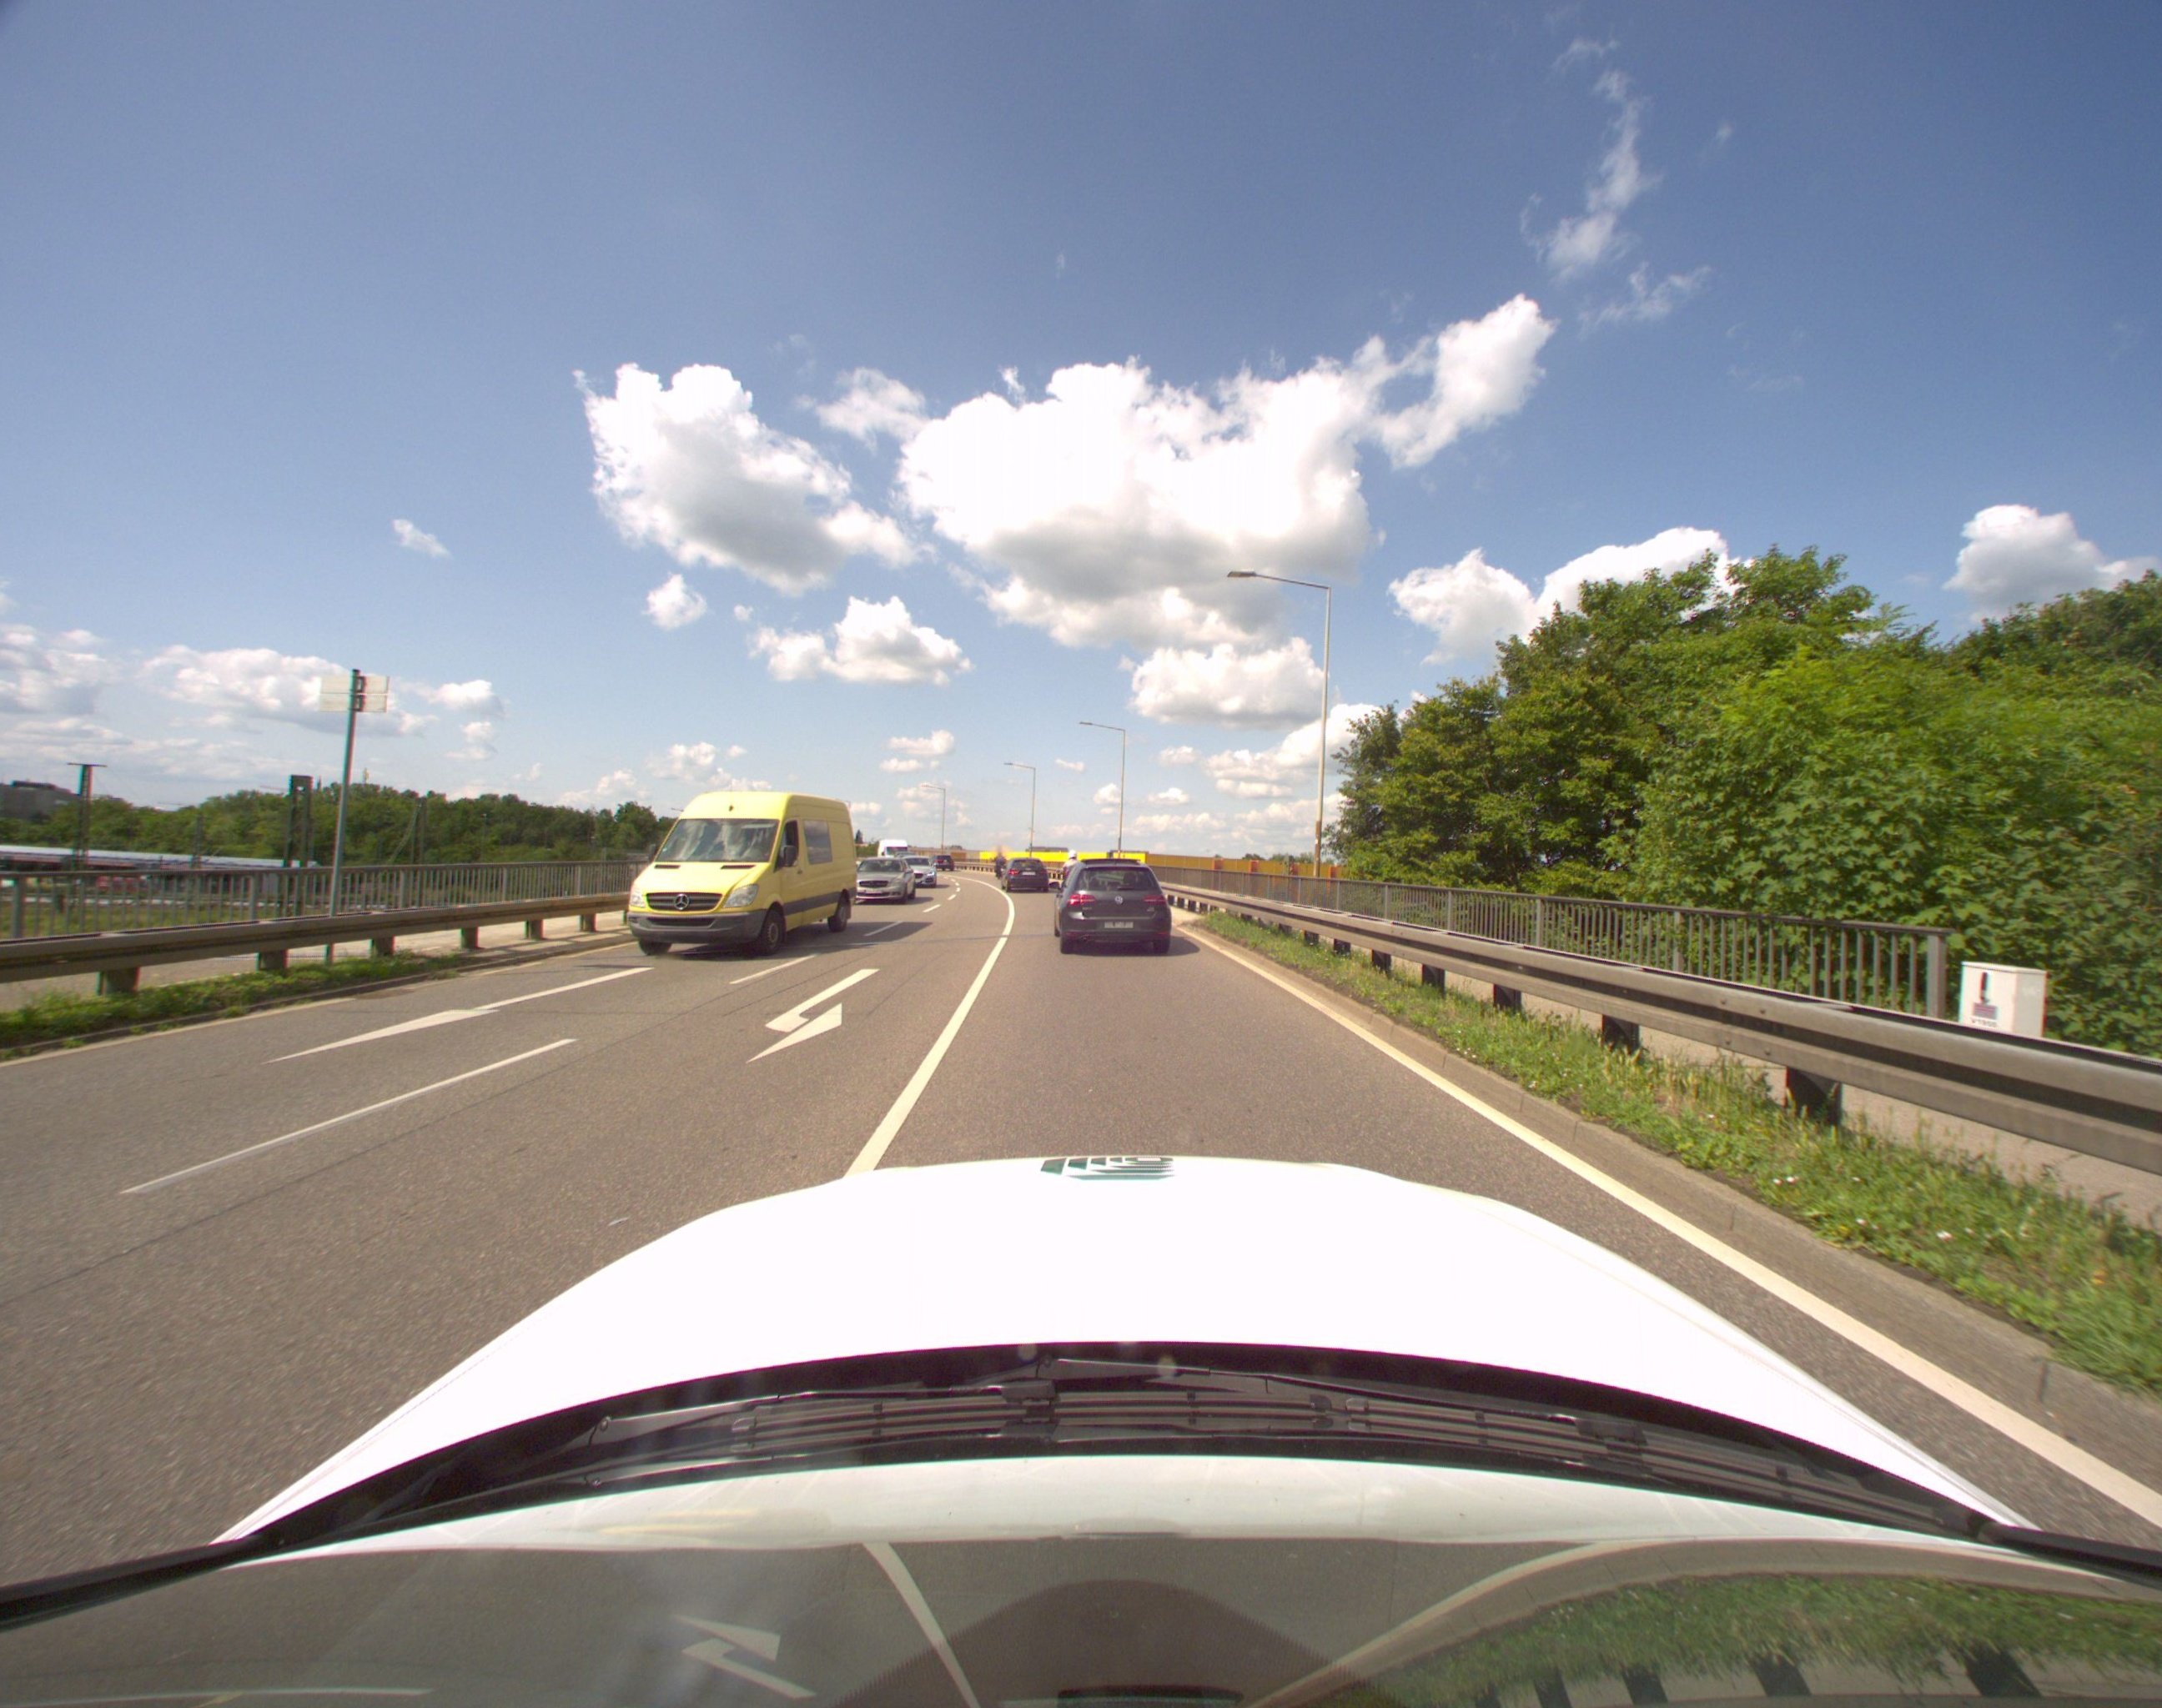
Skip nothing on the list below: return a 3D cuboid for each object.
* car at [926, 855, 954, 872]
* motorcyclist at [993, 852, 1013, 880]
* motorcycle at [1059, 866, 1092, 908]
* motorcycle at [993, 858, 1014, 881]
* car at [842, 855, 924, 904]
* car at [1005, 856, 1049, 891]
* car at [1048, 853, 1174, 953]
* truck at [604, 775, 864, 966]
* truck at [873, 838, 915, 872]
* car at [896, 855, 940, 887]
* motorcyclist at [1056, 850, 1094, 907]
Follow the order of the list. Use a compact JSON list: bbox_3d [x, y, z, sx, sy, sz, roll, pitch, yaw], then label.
[{"bbox_3d":[-12.262,0.820,70.826,1.648,1.479,3.844,1,-1,-21],"label":"car"},{"bbox_3d":[-4.522,0.711,47.340,0.967,1.596,1.120,1,-1,-13],"label":"motorcyclist"},{"bbox_3d":[-0.178,0.937,23.832,0.788,1.132,2.395,1,0,-4],"label":"motorcycle"},{"bbox_3d":[-4.507,0.890,47.202,0.888,1.247,2.389,1,0,-13],"label":"motorcycle"},{"bbox_3d":[-6.172,0.755,25.847,1.744,1.449,4.332,0,0,-3],"label":"car"},{"bbox_3d":[-2.274,0.795,33.655,1.680,1.388,3.730,0,-1,-6],"label":"car"},{"bbox_3d":[0.371,0.747,14.070,1.640,1.479,3.864,1,-1,-6],"label":"car"},{"bbox_3d":[-5.656,0.214,14.419,1.987,2.621,6.102,-1,0,-1],"label":"truck"},{"bbox_3d":[-14.639,0.057,63.603,2.003,2.507,5.898,0,0,-25],"label":"truck"},{"bbox_3d":[-7.442,0.760,37.581,1.794,1.375,4.565,1,0,-9],"label":"car"},{"bbox_3d":[-0.188,0.711,24.015,0.964,1.620,1.122,1,-1,-6],"label":"motorcyclist"}]
